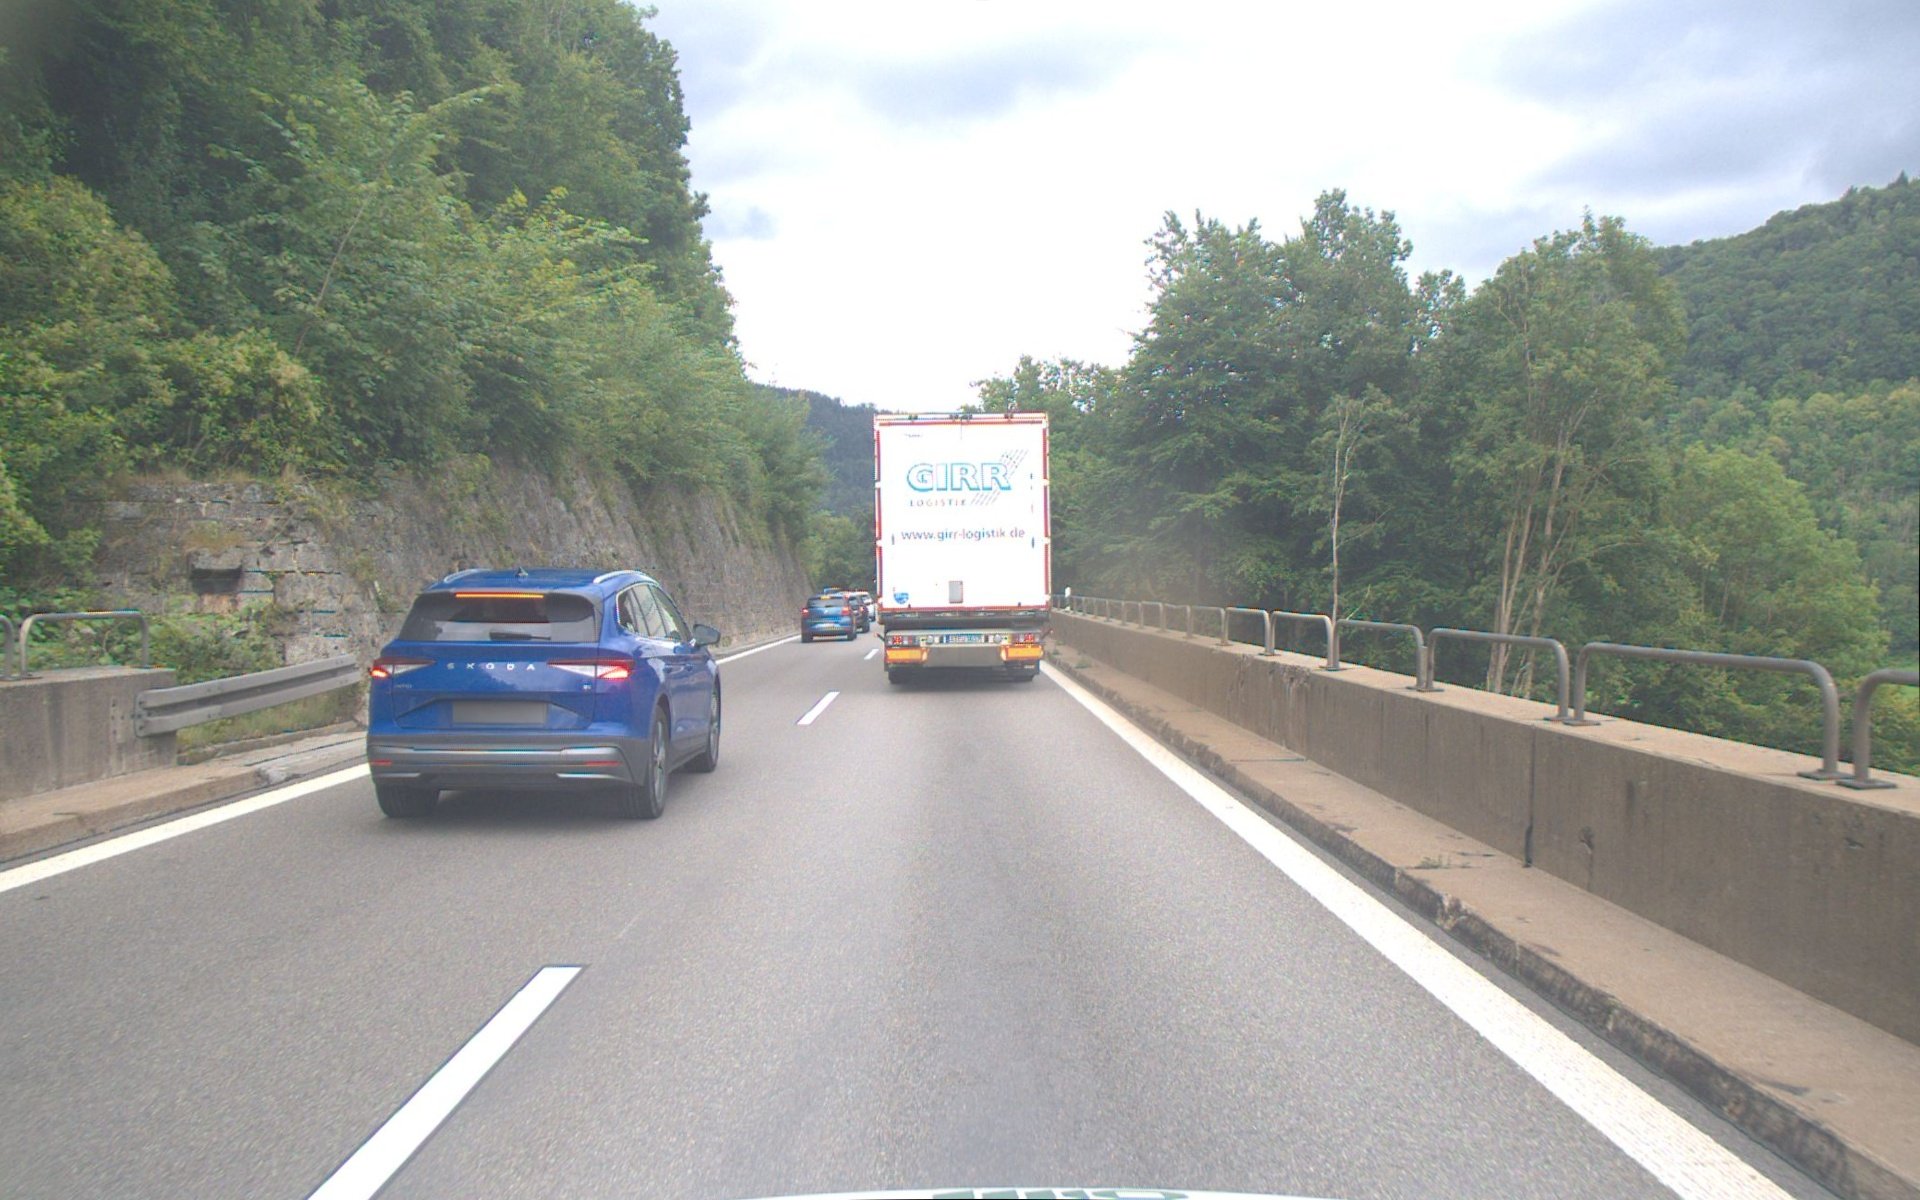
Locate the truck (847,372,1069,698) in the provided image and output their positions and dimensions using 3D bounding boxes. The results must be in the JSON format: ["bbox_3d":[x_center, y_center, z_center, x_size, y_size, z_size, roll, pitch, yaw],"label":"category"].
[{"bbox_3d":[-0.181,-1.021,31.063,3.022,4.541,15.152,-2,1,-1],"label":"truck"}]

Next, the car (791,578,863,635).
[{"bbox_3d":[-4.162,0.221,52.352,1.953,1.624,4.352,-3,-1,-1],"label":"car"}]

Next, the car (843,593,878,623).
[{"bbox_3d":[-5.322,0.410,88.659,1.710,1.512,3.999,1,0,-2],"label":"car"}]

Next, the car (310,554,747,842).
[{"bbox_3d":[-2.860,0.567,12.248,1.953,1.660,5.007,-1,0,-1],"label":"car"}]

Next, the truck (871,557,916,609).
[{"bbox_3d":[-5.350,-1.292,131.317,2.584,3.925,12.340,1,0,-7],"label":"truck"}]

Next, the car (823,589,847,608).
[{"bbox_3d":[-11.518,-0.167,151.855,1.714,1.614,3.990,3,-1,-10],"label":"car"}]

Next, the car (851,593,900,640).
[{"bbox_3d":[-3.138,0.604,62.058,1.710,1.614,3.998,3,-1,-2],"label":"car"}]
